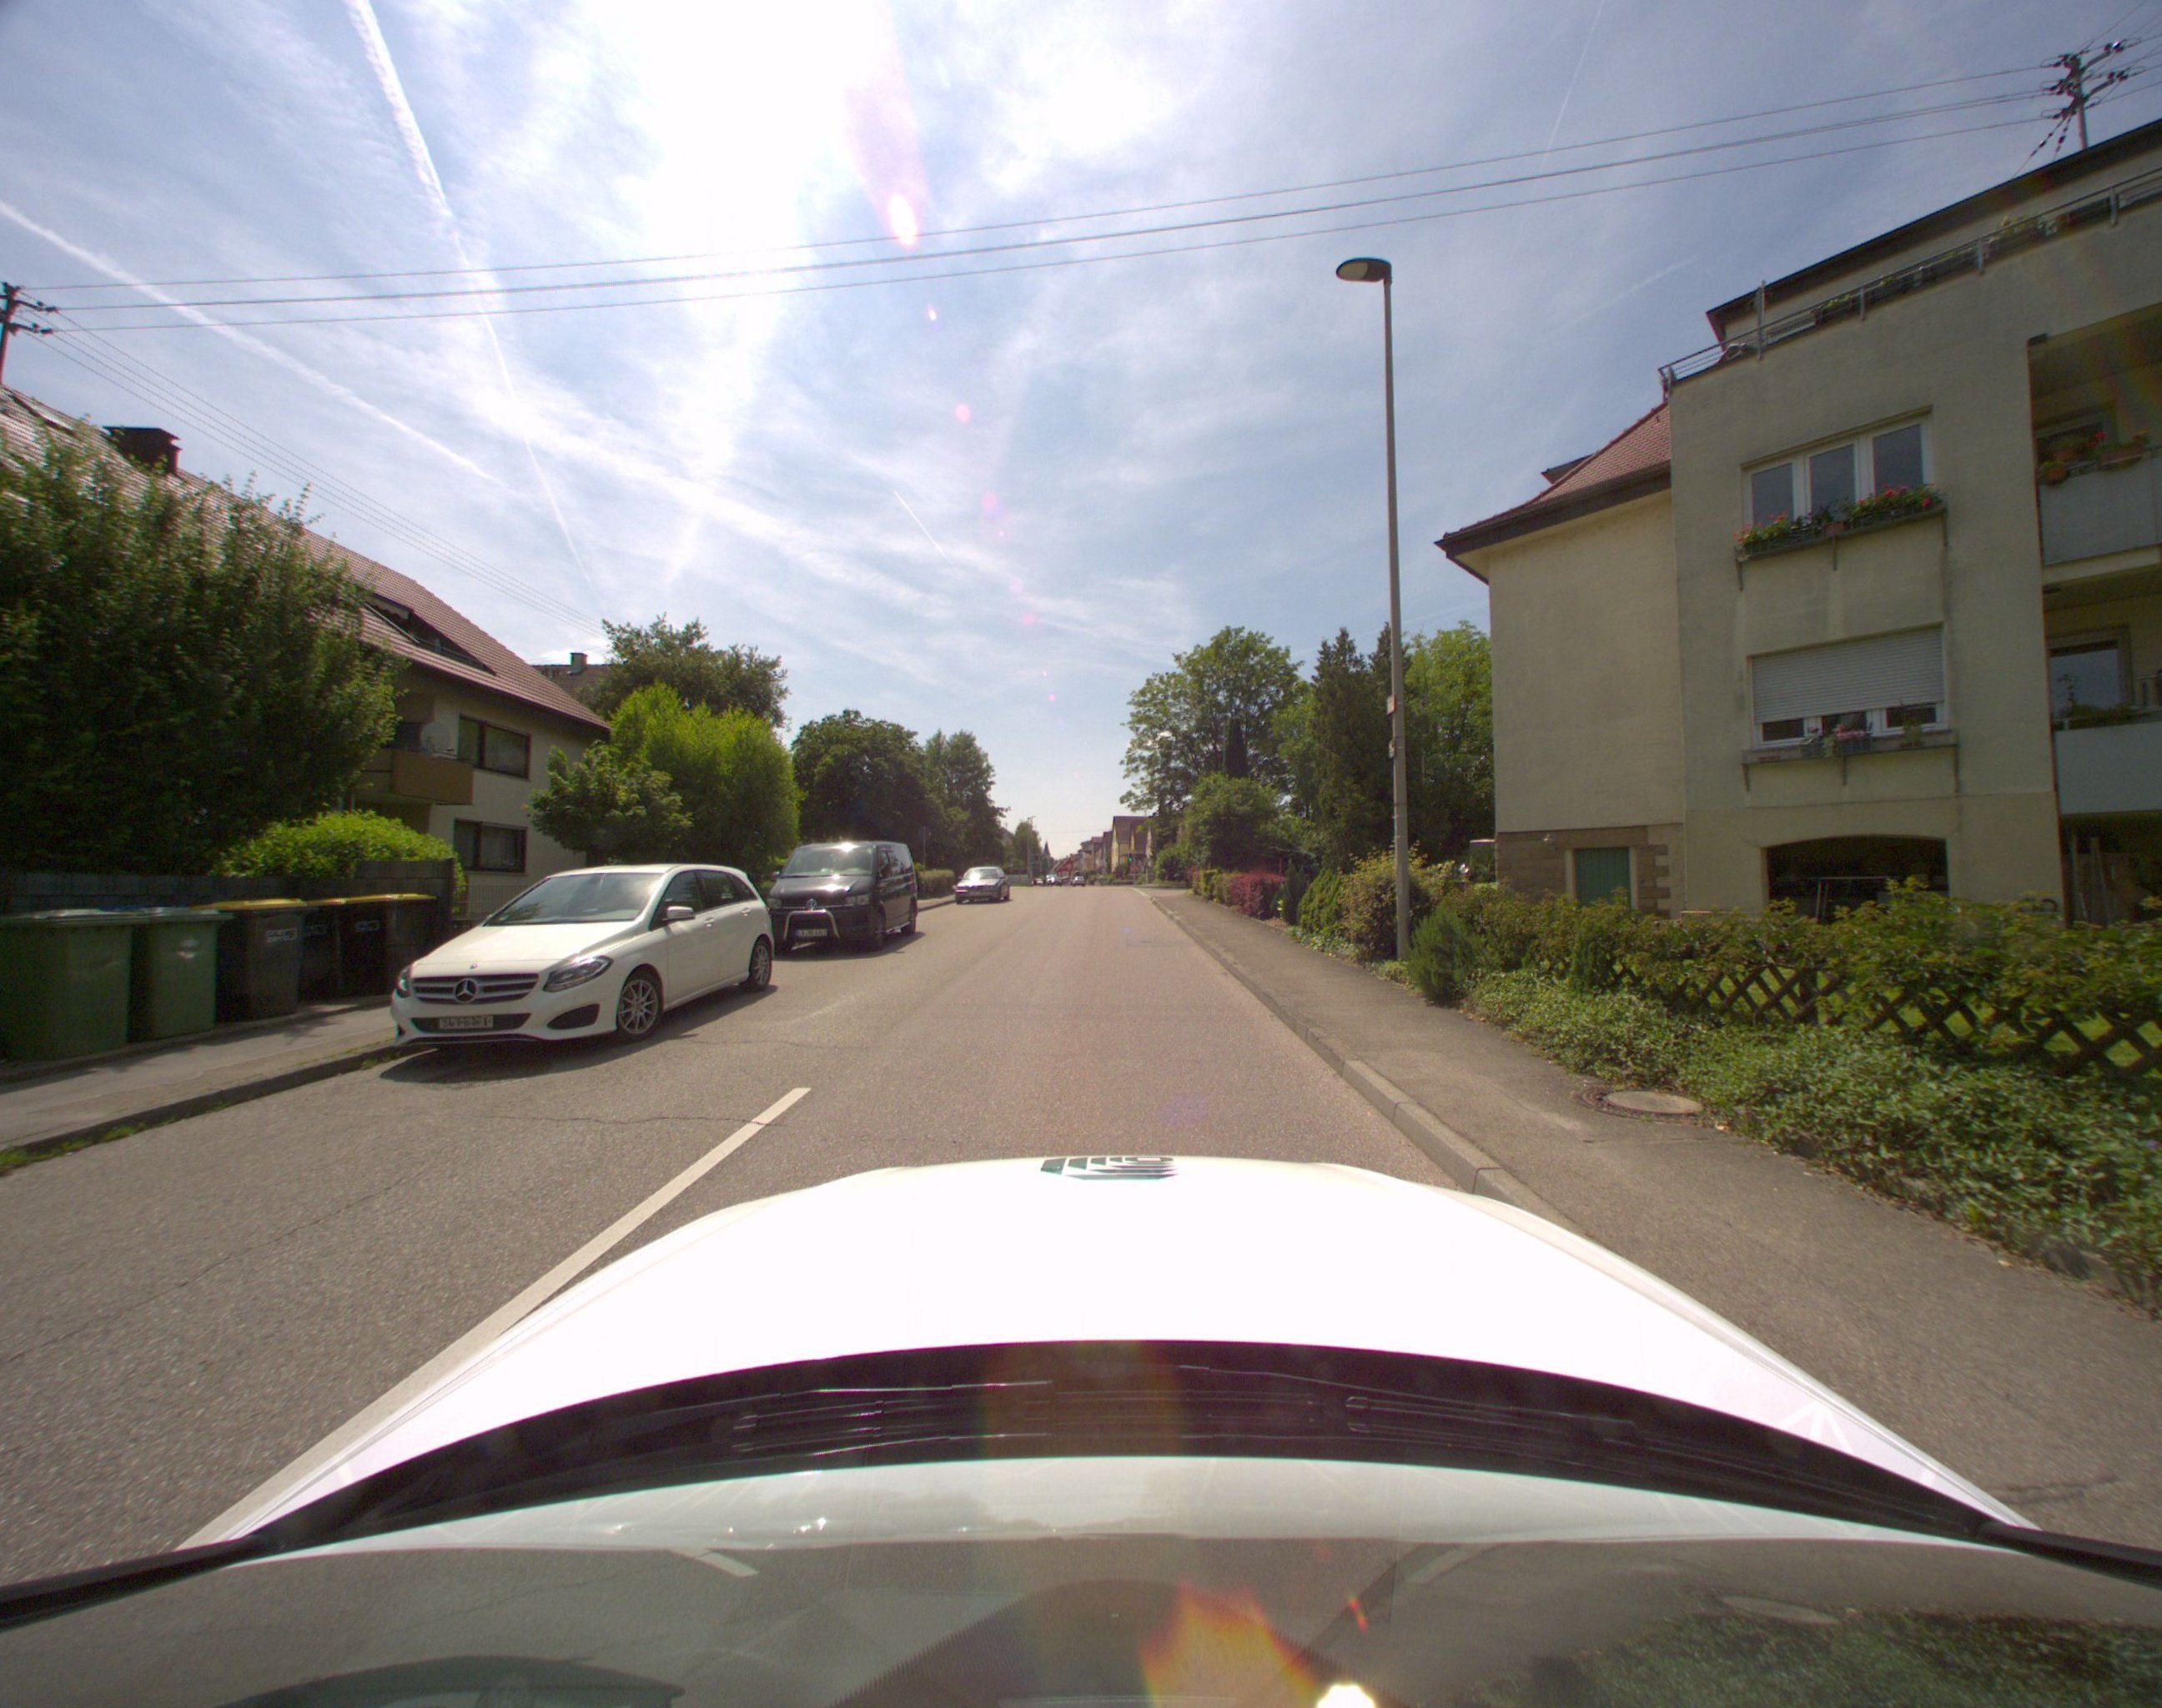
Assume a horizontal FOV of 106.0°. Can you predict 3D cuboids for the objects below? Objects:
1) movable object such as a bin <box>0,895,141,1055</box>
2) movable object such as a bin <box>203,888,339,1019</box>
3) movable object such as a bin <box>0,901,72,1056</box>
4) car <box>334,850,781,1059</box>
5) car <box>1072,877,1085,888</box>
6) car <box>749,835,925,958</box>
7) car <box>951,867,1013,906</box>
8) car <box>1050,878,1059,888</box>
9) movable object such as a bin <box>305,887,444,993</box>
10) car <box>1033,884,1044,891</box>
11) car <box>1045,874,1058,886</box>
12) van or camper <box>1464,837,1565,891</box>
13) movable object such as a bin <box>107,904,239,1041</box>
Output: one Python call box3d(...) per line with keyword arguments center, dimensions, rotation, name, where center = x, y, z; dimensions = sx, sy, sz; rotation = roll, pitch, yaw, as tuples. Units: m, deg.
box3d(center=(-7.586, 0.879, 6.080), dimensions=(0.515, 1.104, 0.529), rotation=(-3, -2, 0), name="movable object such as a bin")
box3d(center=(-7.400, 0.886, 7.465), dimensions=(0.494, 1.105, 0.711), rotation=(-3, -2, 8), name="movable object such as a bin")
box3d(center=(-8.622, 0.983, 6.336), dimensions=(0.474, 1.178, 0.841), rotation=(-1, -1, 7), name="movable object such as a bin")
box3d(center=(-4.733, 0.772, 8.277), dimensions=(1.805, 1.549, 4.242), rotation=(-1, 0, 0), name="car")
box3d(center=(-0.413, 4.707, 134.617), dimensions=(1.987, 1.603, 4.000), rotation=(-1, -1, 0), name="car")
box3d(center=(-4.417, 0.706, 15.606), dimensions=(1.891, 1.920, 4.868), rotation=(-2, 0, -1), name="car")
box3d(center=(-3.869, 1.267, 32.610), dimensions=(1.773, 1.394, 4.410), rotation=(-2, -1, 2), name="car")
box3d(center=(-4.404, 4.801, 134.750), dimensions=(1.531, 1.542, 4.300), rotation=(0, -2, -3), name="car")
box3d(center=(-7.684, 0.915, 8.887), dimensions=(0.896, 1.070, 0.695), rotation=(-1, -1, 1), name="movable object such as a bin")
box3d(center=(-9.368, 7.365, 180.449), dimensions=(2.104, 1.561, 4.312), rotation=(-1, -2, 0), name="car")
box3d(center=(-5.292, 4.683, 146.071), dimensions=(1.876, 1.965, 4.892), rotation=(-2, -3, -5), name="car")
box3d(center=(18.535, 0.493, 34.922), dimensions=(1.828, 2.141, 3.349), rotation=(5, -5, -38), name="van or camper")
box3d(center=(-7.462, 0.955, 6.708), dimensions=(0.453, 1.044, 0.561), rotation=(-3, -2, 8), name="movable object such as a bin")
